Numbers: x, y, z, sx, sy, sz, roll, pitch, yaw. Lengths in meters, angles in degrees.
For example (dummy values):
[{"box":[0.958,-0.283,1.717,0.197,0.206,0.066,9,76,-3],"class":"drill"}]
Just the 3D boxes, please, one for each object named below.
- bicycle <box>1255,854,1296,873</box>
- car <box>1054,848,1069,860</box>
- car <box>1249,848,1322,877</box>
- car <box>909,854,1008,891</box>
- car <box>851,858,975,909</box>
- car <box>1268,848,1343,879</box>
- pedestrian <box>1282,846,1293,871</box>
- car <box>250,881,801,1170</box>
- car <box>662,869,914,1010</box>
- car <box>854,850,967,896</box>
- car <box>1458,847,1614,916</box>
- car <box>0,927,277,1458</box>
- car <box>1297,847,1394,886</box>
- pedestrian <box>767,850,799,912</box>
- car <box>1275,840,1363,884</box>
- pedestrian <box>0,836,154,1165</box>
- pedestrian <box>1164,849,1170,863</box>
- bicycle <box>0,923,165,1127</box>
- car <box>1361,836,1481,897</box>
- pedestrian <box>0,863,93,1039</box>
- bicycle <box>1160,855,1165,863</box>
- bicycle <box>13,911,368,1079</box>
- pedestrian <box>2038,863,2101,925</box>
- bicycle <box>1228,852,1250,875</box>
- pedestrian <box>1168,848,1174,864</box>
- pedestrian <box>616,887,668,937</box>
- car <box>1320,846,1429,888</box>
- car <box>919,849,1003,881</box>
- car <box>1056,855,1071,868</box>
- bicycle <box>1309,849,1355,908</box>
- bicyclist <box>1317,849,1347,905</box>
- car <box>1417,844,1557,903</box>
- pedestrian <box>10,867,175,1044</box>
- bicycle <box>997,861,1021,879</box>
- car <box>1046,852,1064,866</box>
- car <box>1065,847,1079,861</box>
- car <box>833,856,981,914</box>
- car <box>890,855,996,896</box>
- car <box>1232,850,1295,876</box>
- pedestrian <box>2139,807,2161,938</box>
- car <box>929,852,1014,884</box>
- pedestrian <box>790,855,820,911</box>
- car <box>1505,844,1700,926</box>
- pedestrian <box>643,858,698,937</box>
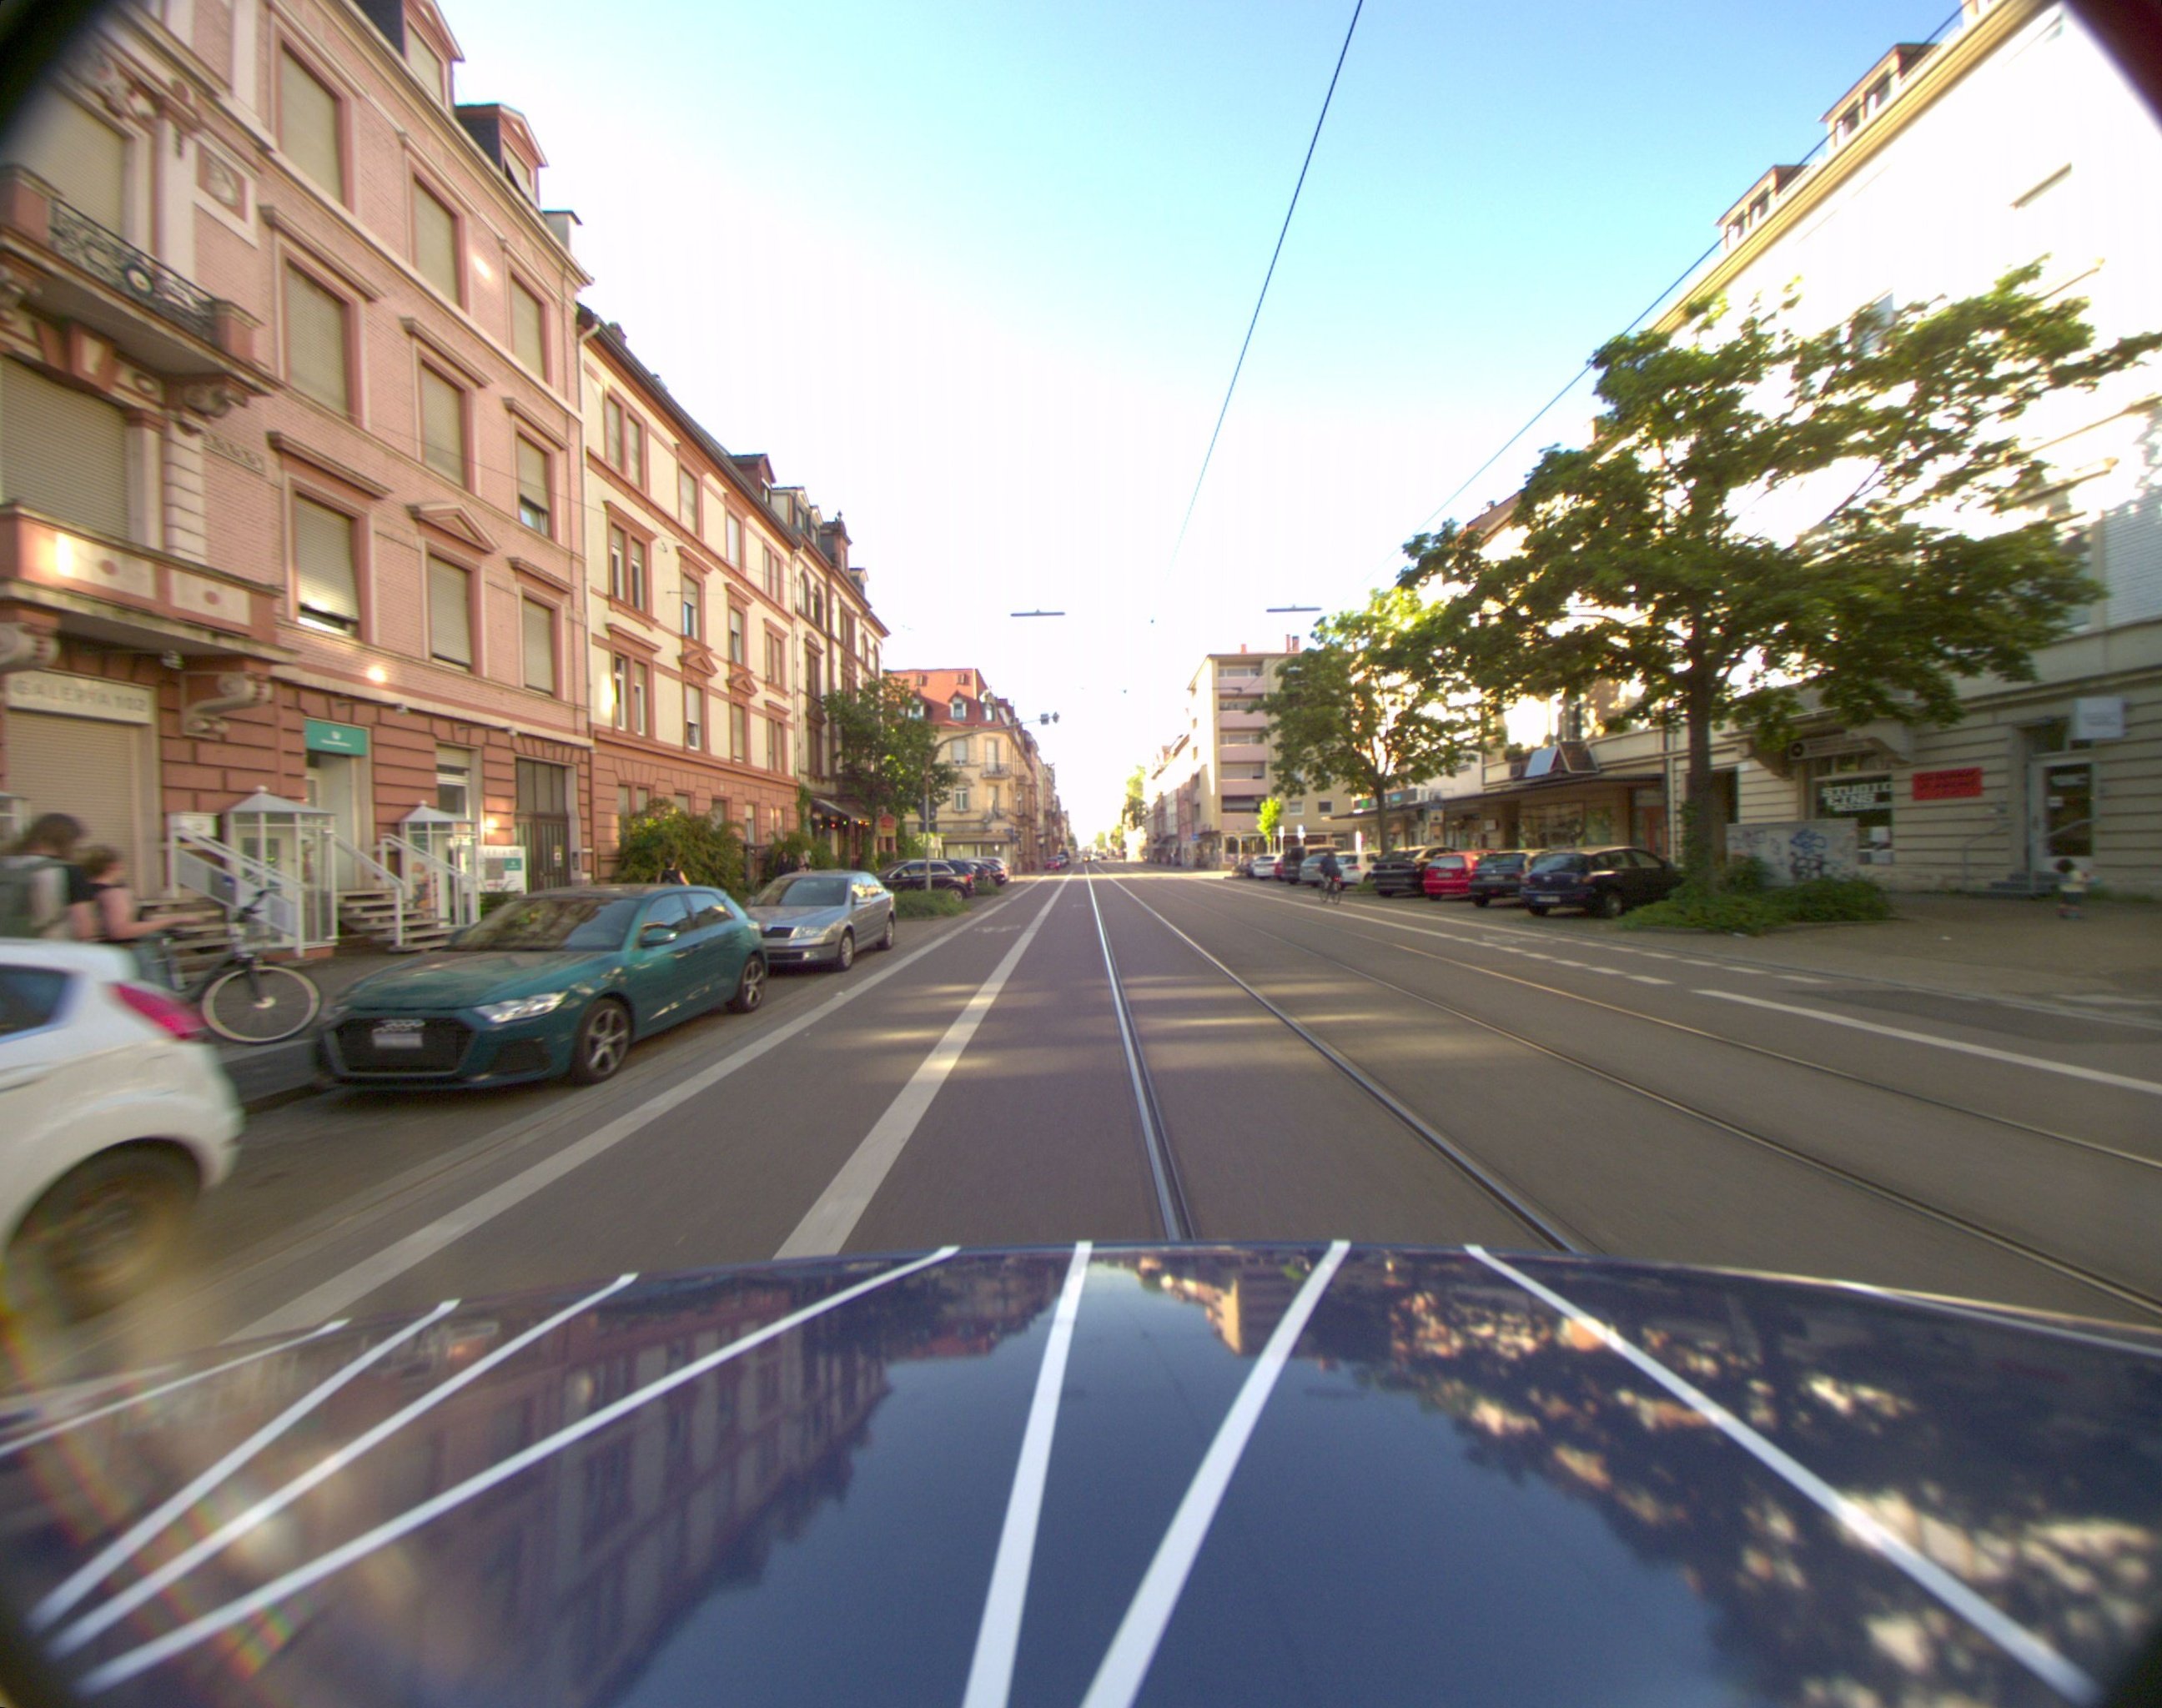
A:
[{"box":[12.325,0.589,48.303,2.429,1.102,0.685,-4,-2,41],"class":"bicycle"},{"box":[-2.820,-0.003,112.219,1.998,1.606,4.785,2,1,0],"class":"car"},{"box":[11.237,0.457,41.670,3.798,1.392,1.750,-3,1,-32],"class":"car"},{"box":[-6.112,0.898,37.869,4.454,1.587,2.084,-2,1,-24],"class":"car"},{"box":[-6.115,1.015,27.565,4.004,1.587,2.083,-2,1,-24],"class":"car"},{"box":[11.490,0.481,38.884,3.476,1.464,1.645,-1,0,-28],"class":"car"},{"box":[13.860,0.311,50.992,0.570,1.643,0.641,-2,1,1],"class":"pedestrian"},{"box":[-4.251,1.162,6.809,1.878,1.587,4.000,-2,1,1],"class":"car"},{"box":[-4.235,1.135,11.984,1.877,1.587,4.719,-2,1,3],"class":"car"},{"box":[-6.736,0.702,30.046,4.004,1.587,1.955,-2,1,-24],"class":"car"},{"box":[11.810,0.644,19.655,4.006,1.481,1.802,-3,1,-32],"class":"car"},{"box":[-4.380,1.154,1.187,1.878,1.587,4.000,-2,1,1],"class":"car"},{"box":[11.488,0.510,32.925,4.025,1.441,1.695,-3,1,-29],"class":"car"},{"box":[-8.817,0.778,22.515,0.519,1.768,0.863,-2,1,1],"class":"pedestrian"},{"box":[11.305,0.345,35.986,3.828,1.775,1.793,-4,2,-30],"class":"car"},{"box":[-5.855,0.750,4.136,0.713,1.662,0.654,-2,1,0],"class":"pedestrian"},{"box":[9.724,0.249,86.048,0.637,1.540,0.623,-2,1,0],"class":"pedestrian"},{"box":[-7.857,1.148,5.099,2.545,1.214,0.664,-2,1,0],"class":"bicycle"},{"box":[11.276,0.357,25.075,4.375,1.772,1.990,-3,1,-42],"class":"car"},{"box":[-10.318,0.909,7.291,0.713,1.598,0.654,-2,1,0],"class":"pedestrian"},{"box":[11.948,0.703,111.576,0.425,1.053,2.329,-2,1,0],"class":"bicycle"},{"box":[-7.295,1.131,6.296,2.062,1.214,0.663,-1,1,-1],"class":"bicycle"},{"box":[15.146,0.607,11.646,0.355,0.917,0.459,-2,1,0],"class":"pedestrian"},{"box":[9.727,0.608,46.774,0.683,1.311,2.435,-2,-2,-4],"class":"bicycle"},{"box":[9.636,0.237,81.171,0.564,1.676,0.616,-2,1,-1],"class":"pedestrian"},{"box":[-9.279,1.218,16.088,0.713,0.975,0.654,2,1,0],"class":"pedestrian"},{"box":[11.483,0.467,29.702,3.849,1.421,1.762,-2,1,-25],"class":"car"},{"box":[-6.403,0.568,40.492,4.004,1.528,1.915,-2,1,-24],"class":"car"},{"box":[-2.443,0.995,105.239,1.871,1.637,4.399,2,0,-4],"class":"car"},{"box":[7.629,0.708,23.220,0.682,1.669,2.096,-2,1,1],"class":"bicycle"},{"box":[7.620,0.686,23.071,0.636,1.672,0.726,-2,1,1],"class":"bicyclist"},{"box":[11.976,0.522,22.377,4.006,1.481,1.863,-3,1,-32],"class":"car"},{"box":[-9.471,0.941,7.307,0.713,1.598,0.654,1,1,0],"class":"pedestrian"},{"box":[-4.597,1.021,48.520,1.400,1.120,0.551,-2,1,0],"class":"bicycle"},{"box":[-3.037,0.573,88.362,1.870,1.474,4.400,1,1,0],"class":"car"},{"box":[-1.586,-0.073,139.411,2.128,2.478,5.856,-2,1,2],"class":"car"},{"box":[-5.631,0.944,24.622,4.322,1.587,1.978,-2,1,-24],"class":"car"},{"box":[-6.314,0.939,34.728,4.337,1.587,2.041,-2,1,-24],"class":"car"},{"box":[10.822,0.524,44.967,3.476,1.330,1.620,-3,1,-34],"class":"car"},{"box":[14.432,0.231,9.770,0.579,1.716,0.762,-2,1,0],"class":"pedestrian"},{"box":[-6.214,0.775,43.190,4.370,1.587,1.850,-2,1,-24],"class":"car"},{"box":[-8.439,0.875,23.273,0.519,1.639,0.863,-2,1,1],"class":"pedestrian"},{"box":[11.405,0.595,16.601,4.005,1.481,1.802,-3,1,-27],"class":"car"},{"box":[-8.651,0.906,16.037,0.713,1.598,0.654,-2,1,0],"class":"pedestrian"}]
